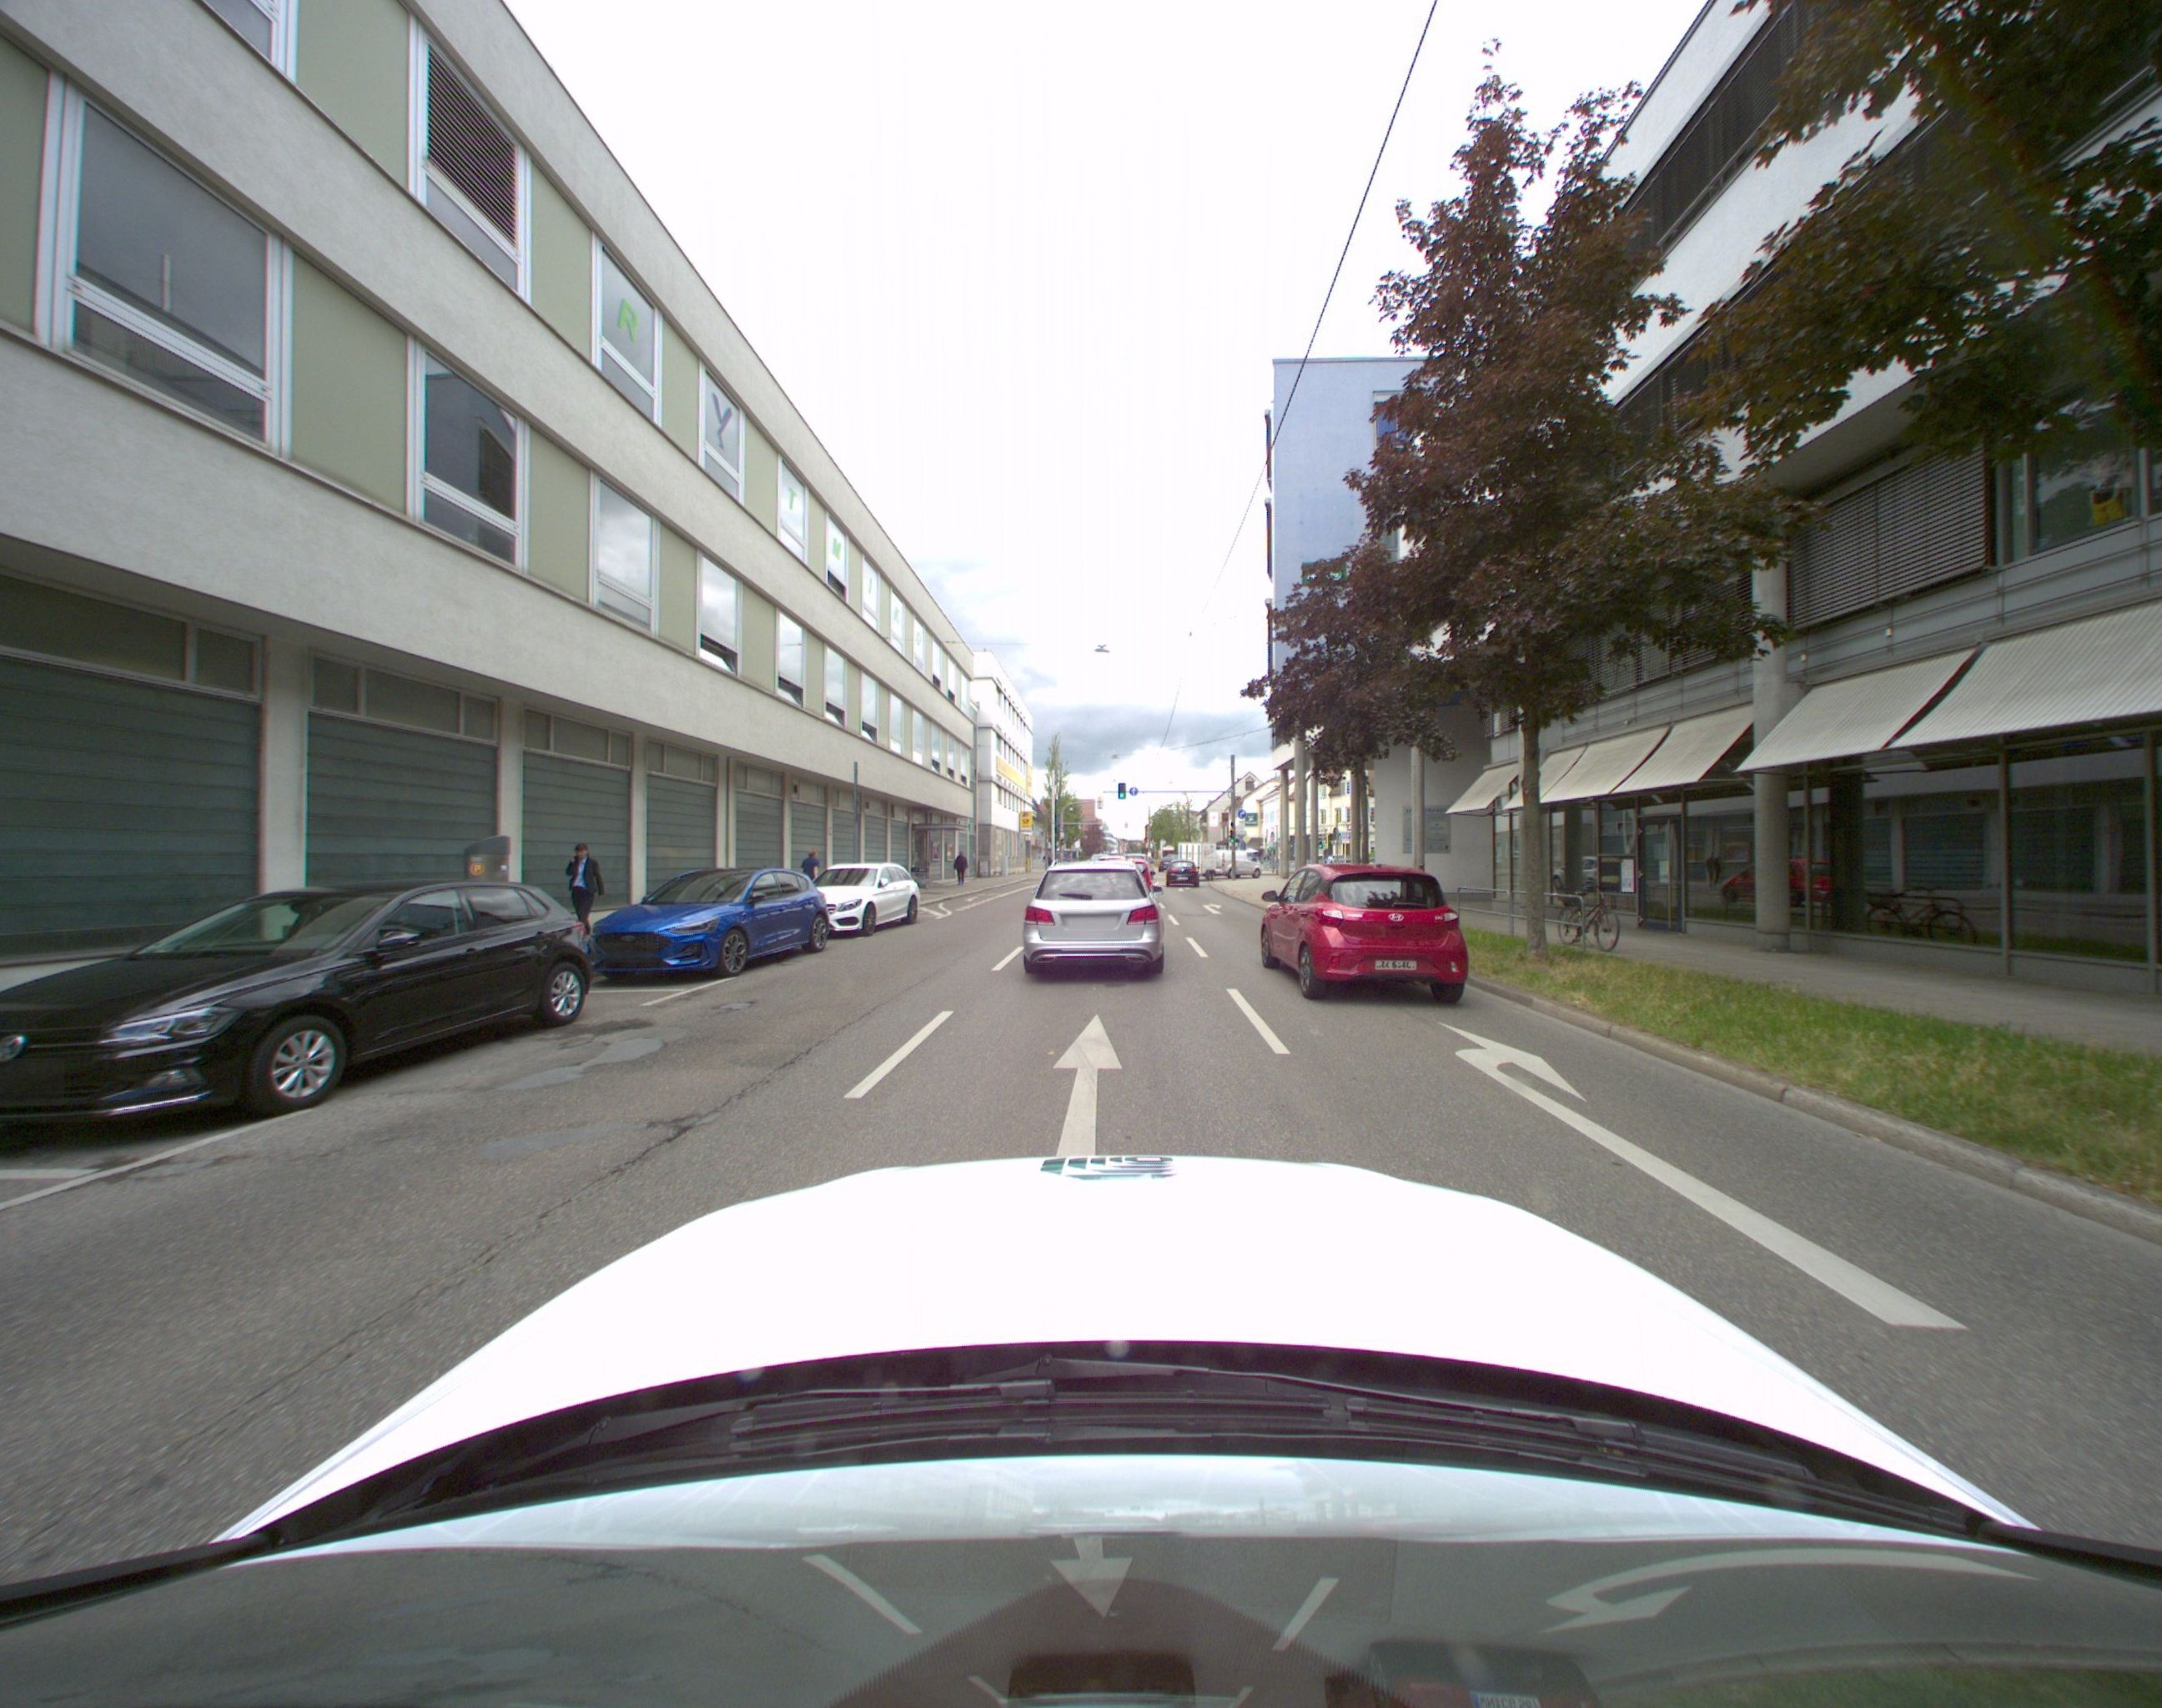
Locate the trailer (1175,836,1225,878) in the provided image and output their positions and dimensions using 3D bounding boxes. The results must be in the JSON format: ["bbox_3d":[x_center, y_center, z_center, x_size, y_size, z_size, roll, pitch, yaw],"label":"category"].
[{"bbox_3d":[7.896,0.213,53.814,1.860,2.613,4.348,2,0,27],"label":"trailer"}]

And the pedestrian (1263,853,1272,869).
[{"bbox_3d":[19.835,0.752,86.727,0.707,1.718,0.643,0,0,-33],"label":"pedestrian"}]

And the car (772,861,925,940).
[{"bbox_3d":[-4.897,0.909,17.874,1.662,1.434,4.559,-2,0,5],"label":"car"}]

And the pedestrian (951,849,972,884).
[{"bbox_3d":[-6.041,0.641,41.138,0.858,1.718,1.032,1,0,1],"label":"pedestrian"}]

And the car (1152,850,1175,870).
[{"bbox_3d":[7.612,0.579,75.211,1.821,1.785,4.001,0,0,1],"label":"car"}]

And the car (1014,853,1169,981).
[{"bbox_3d":[0.171,0.753,11.765,1.839,1.508,4.172,-1,0,1],"label":"car"}]

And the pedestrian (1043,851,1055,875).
[{"bbox_3d":[-2.354,0.672,59.855,0.643,1.718,0.785,1,0,10],"label":"pedestrian"}]

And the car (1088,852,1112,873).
[{"bbox_3d":[1.621,0.709,68.009,1.768,1.632,4.773,-1,0,4],"label":"car"}]

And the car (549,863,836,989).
[{"bbox_3d":[-5.376,0.904,12.026,1.806,1.426,4.271,-2,0,6],"label":"car"}]

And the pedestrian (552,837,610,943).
[{"bbox_3d":[-8.313,0.587,13.558,0.588,1.718,0.648,0,0,-6],"label":"pedestrian"}]

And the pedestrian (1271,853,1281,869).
[{"bbox_3d":[20.684,0.731,86.221,0.791,1.718,0.644,1,0,-27],"label":"pedestrian"}]

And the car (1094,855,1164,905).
[{"bbox_3d":[1.640,0.788,26.477,1.723,1.508,4.012,0,0,11],"label":"car"}]

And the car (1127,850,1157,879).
[{"bbox_3d":[3.932,0.659,53.057,1.728,1.759,4.001,-1,0,1],"label":"car"}]

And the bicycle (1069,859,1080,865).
[{"bbox_3d":[-1.102,1.370,143.237,1.935,1.029,0.529,1,-1,-7],"label":"bicycle"}]

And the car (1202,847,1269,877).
[{"bbox_3d":[10.944,0.561,57.463,4.929,1.945,1.863,2,0,-39],"label":"car"}]

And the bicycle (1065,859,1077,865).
[{"bbox_3d":[-1.733,1.347,139.935,1.935,1.029,0.529,1,-1,-7],"label":"bicycle"}]

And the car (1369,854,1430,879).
[{"bbox_3d":[22.135,0.878,56.735,3.760,1.670,1.936,-1,0,13],"label":"car"}]

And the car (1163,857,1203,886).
[{"bbox_3d":[5.421,0.892,43.594,1.728,1.410,4.001,-1,0,1],"label":"car"}]

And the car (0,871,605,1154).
[{"bbox_3d":[-5.761,0.914,6.356,1.710,1.425,3.871,-2,0,1],"label":"car"}]

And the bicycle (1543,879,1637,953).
[{"bbox_3d":[8.543,1.003,13.770,0.359,1.086,2.028,1,0,1],"label":"bicycle"}]

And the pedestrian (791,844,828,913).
[{"bbox_3d":[-7.007,0.616,21.070,0.587,1.718,1.055,-1,0,1],"label":"pedestrian"}]

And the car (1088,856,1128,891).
[{"bbox_3d":[1.233,0.855,37.846,1.728,1.508,4.001,-1,0,1],"label":"car"}]

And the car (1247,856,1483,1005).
[{"bbox_3d":[3.315,0.786,10.337,1.692,1.452,4.002,2,0,2],"label":"car"}]
